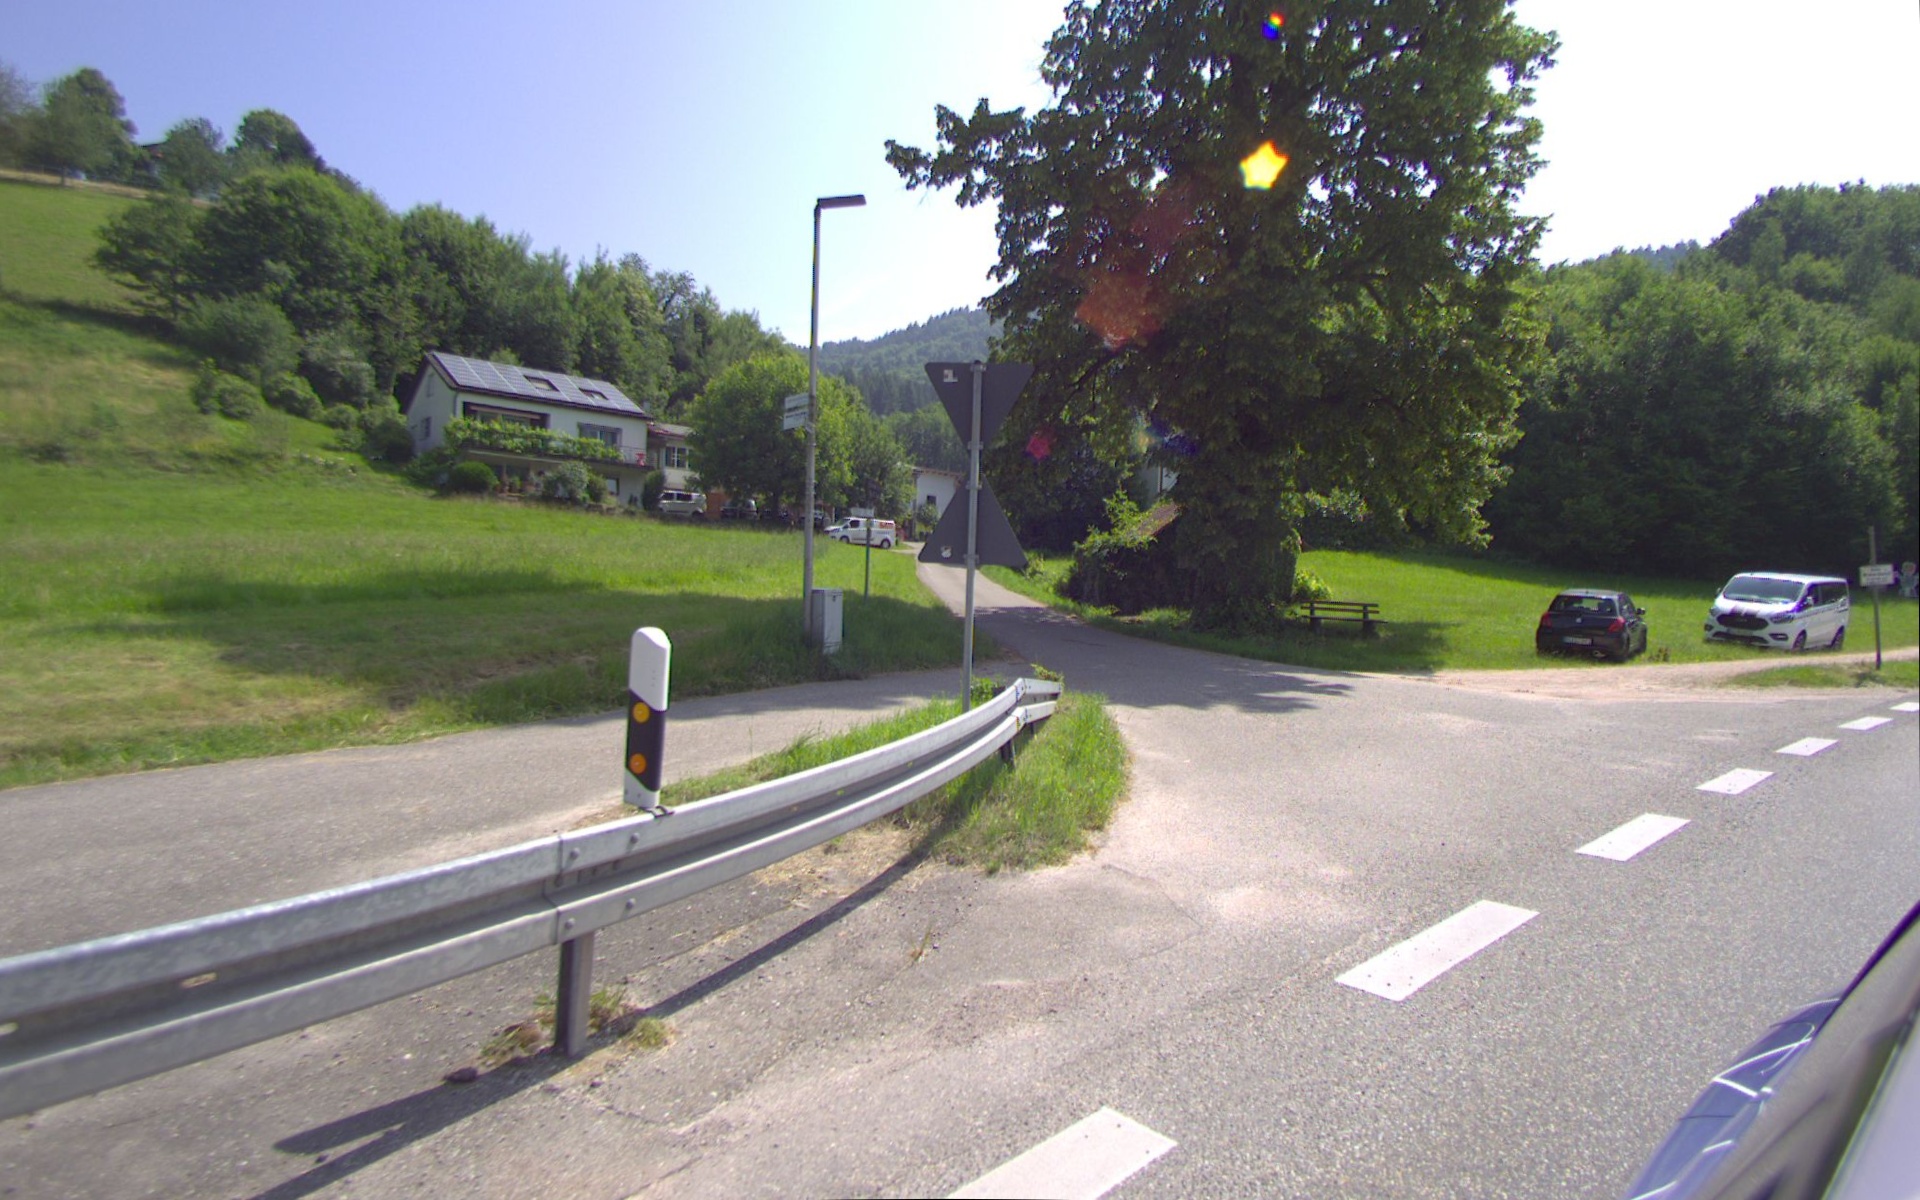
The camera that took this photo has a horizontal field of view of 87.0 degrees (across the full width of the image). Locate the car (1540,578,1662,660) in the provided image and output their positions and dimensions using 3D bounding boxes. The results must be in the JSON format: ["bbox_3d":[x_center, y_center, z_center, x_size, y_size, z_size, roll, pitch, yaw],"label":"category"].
[{"bbox_3d":[14.235,0.337,22.397,1.673,1.474,3.661,5,6,41],"label":"car"}]

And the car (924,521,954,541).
[{"bbox_3d":[-1.919,-6.431,94.670,1.969,1.638,3.988,2,2,11],"label":"car"}]

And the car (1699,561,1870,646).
[{"bbox_3d":[21.469,0.045,26.301,4.775,1.869,2.009,0,7,-35],"label":"car"}]

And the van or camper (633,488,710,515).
[{"bbox_3d":[-20.526,-6.990,72.181,4.965,1.661,2.028,-1,3,-45],"label":"van or camper"}]

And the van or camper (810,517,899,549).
[{"bbox_3d":[-7.220,-4.534,69.231,5.333,1.973,2.819,0,2,-36],"label":"van or camper"}]
